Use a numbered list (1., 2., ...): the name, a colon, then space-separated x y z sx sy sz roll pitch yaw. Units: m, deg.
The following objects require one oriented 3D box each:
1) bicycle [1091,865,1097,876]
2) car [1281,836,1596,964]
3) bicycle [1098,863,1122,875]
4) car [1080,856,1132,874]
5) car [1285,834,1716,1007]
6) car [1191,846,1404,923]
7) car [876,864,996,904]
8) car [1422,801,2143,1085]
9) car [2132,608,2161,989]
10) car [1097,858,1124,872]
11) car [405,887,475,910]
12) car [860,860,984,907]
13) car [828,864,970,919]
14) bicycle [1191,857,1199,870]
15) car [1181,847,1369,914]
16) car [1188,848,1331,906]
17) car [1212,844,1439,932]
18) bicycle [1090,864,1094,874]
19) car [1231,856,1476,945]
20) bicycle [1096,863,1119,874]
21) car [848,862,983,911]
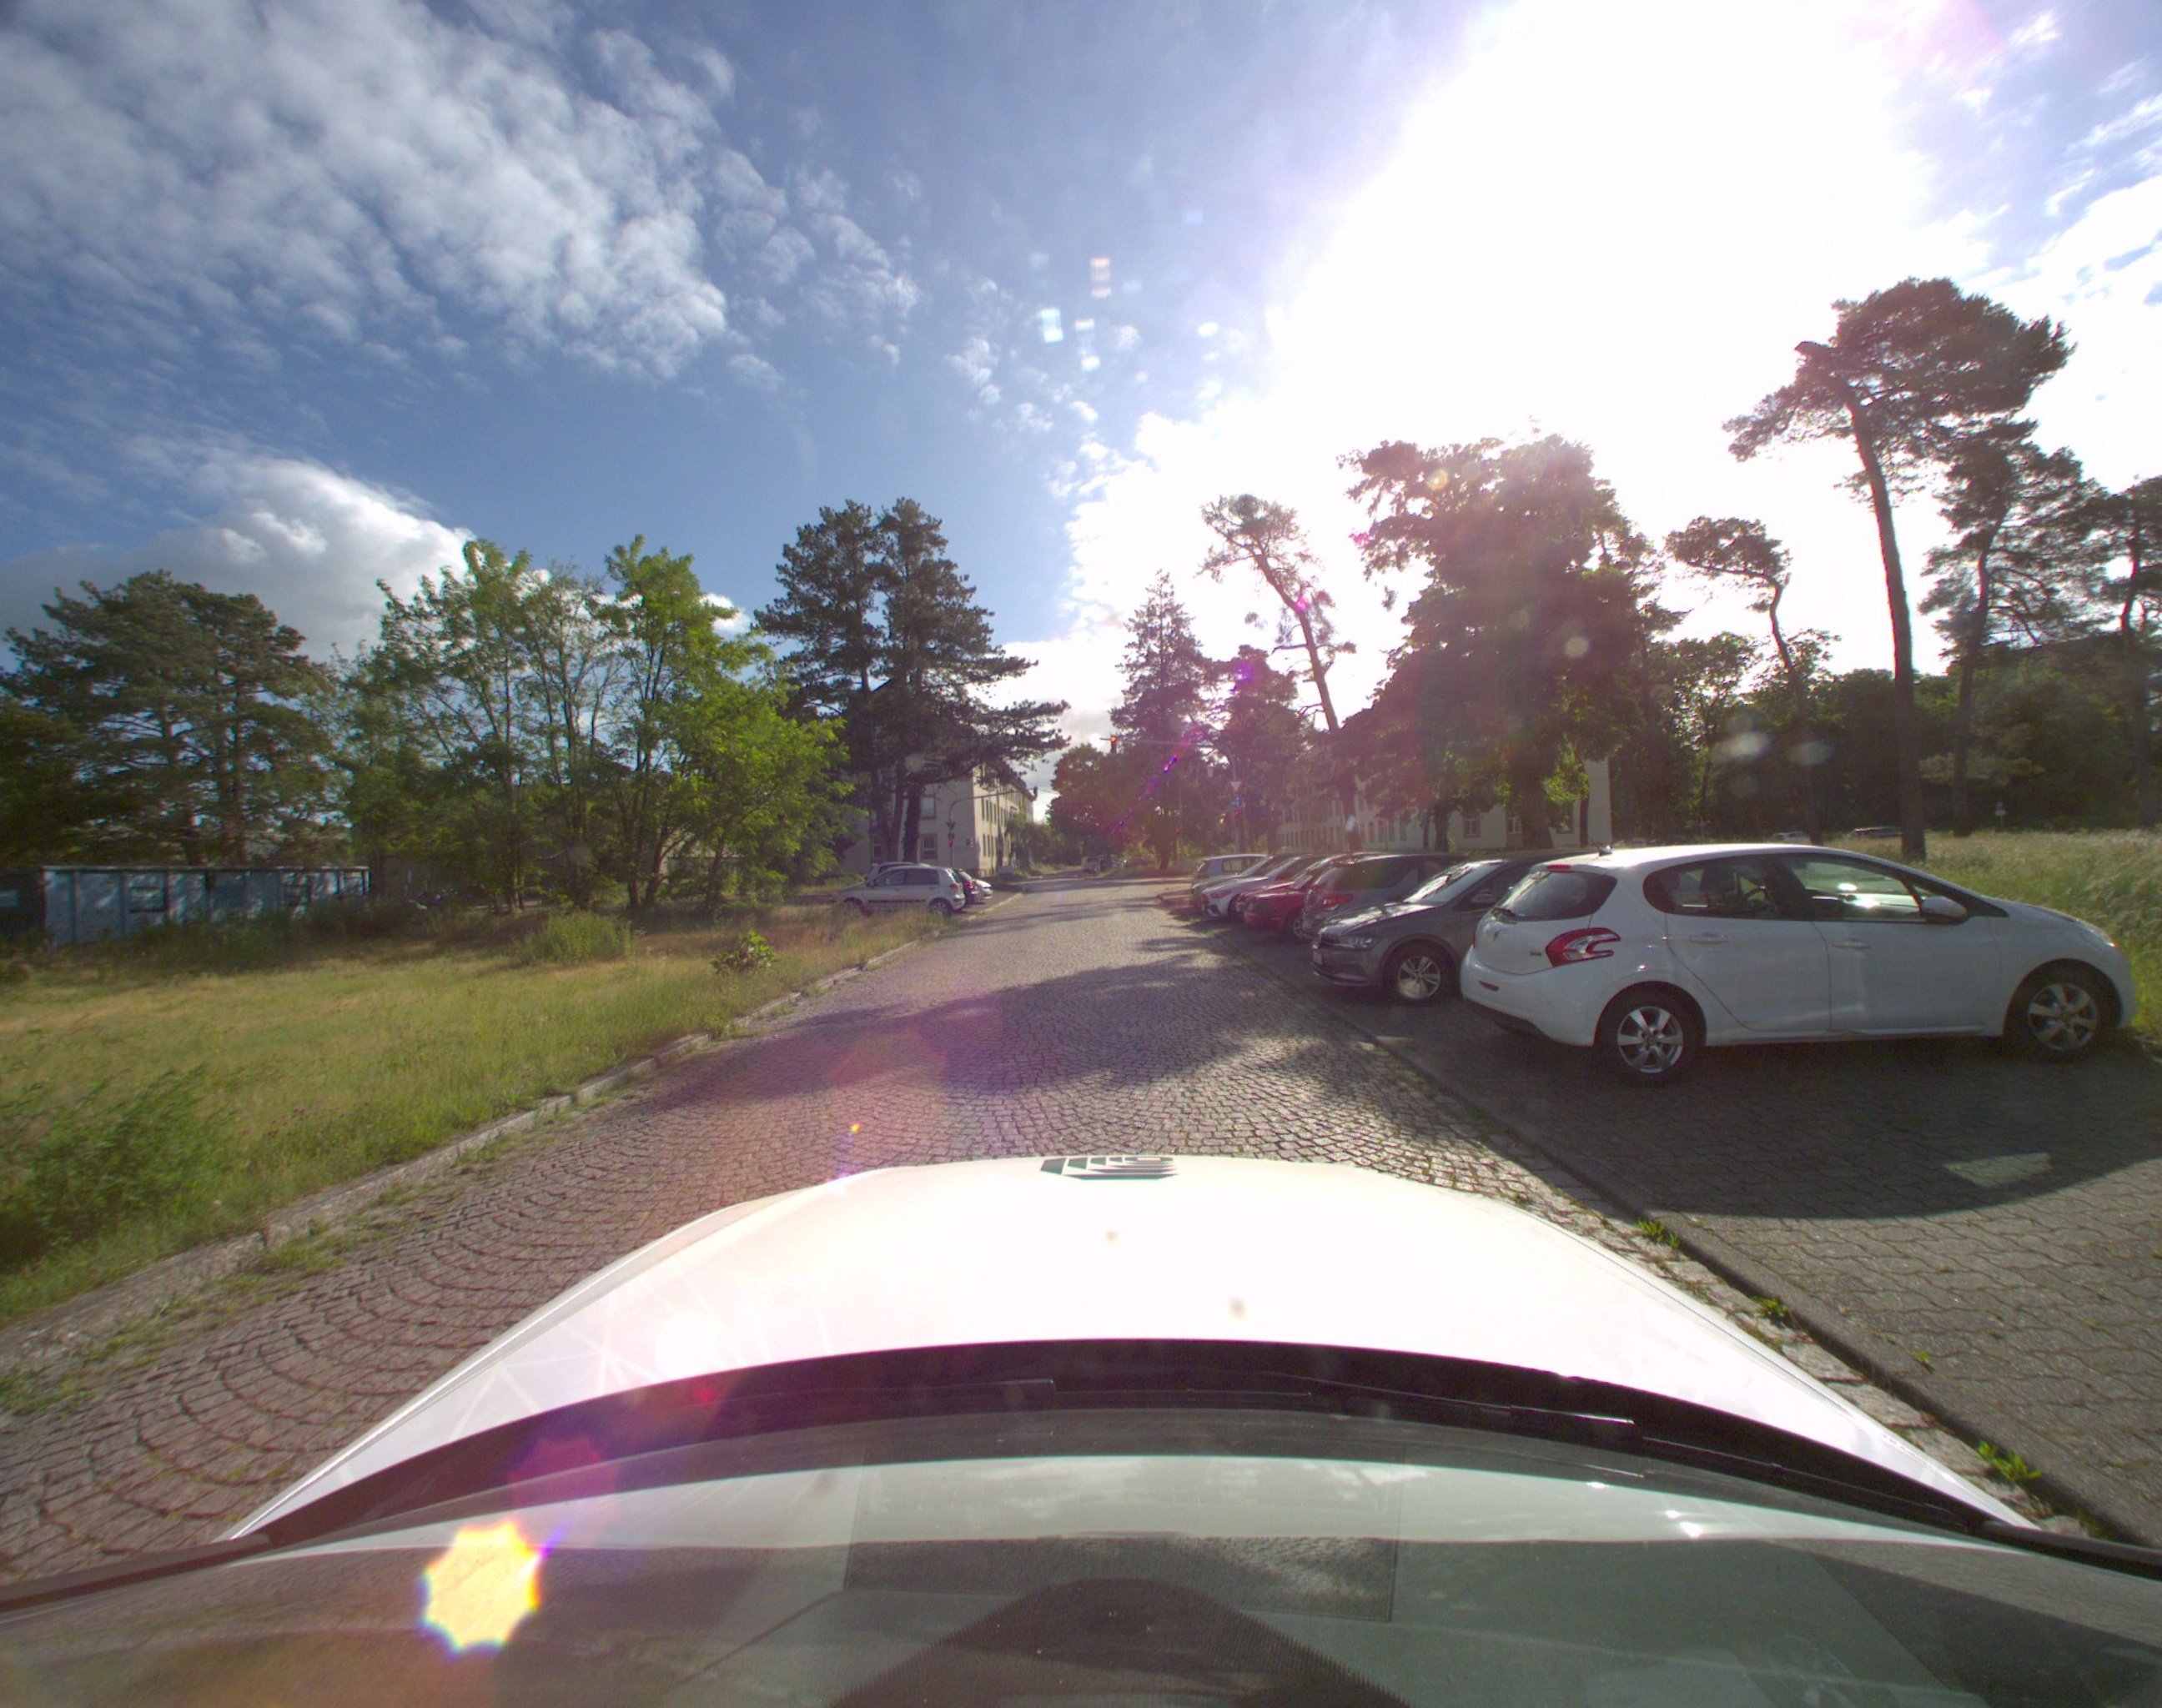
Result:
1. bicycle: 1.110 1.409 69.664 0.466 1.010 1.584 0 -1 -2
2. car: 4.984 0.612 11.753 3.694 1.449 1.816 -4 0 1
3. bicycle: 2.575 1.336 73.230 2.107 1.010 0.619 0 -1 -7
4. car: 2.820 1.241 91.337 5.535 2.014 1.988 0 -1 -17
5. car: 4.323 0.648 8.890 3.694 1.449 1.857 -4 0 1
6. car: 4.894 0.670 18.838 4.416 1.415 1.781 -4 0 1
7. car: -5.509 1.125 31.383 4.322 1.468 1.829 0 0 -2
8. car: 4.747 0.561 5.979 3.694 1.534 1.761 -4 0 1
9. car: 4.500 0.324 0.630 4.682 1.935 2.000 -4 -1 0
10. car: 3.177 1.230 87.705 2.776 1.467 1.669 0 -1 -4
11. car: -47.261 3.258 60.140 1.895 1.433 4.001 -2 -1 2
12. car: -5.611 1.031 29.072 4.070 1.593 1.884 0 0 -2
13. car: -5.179 1.051 23.474 3.737 1.487 1.644 0 0 -2
14. bicycle: 8.566 0.741 61.082 0.300 0.961 1.584 0 -1 -2
15. car: 5.033 0.669 21.554 4.543 1.415 1.637 -4 0 1
16. car: 5.267 0.650 24.332 3.868 1.415 1.637 -4 0 1
17. car: 4.911 0.661 16.756 4.112 1.449 1.637 -4 0 1
18. bicycle: 1.122 1.539 82.897 0.416 1.010 1.484 0 -1 2
19. car: 4.667 0.773 14.357 3.694 1.223 1.747 -4 0 1
20. bicycle: 2.442 1.366 74.945 2.002 1.010 0.630 0 -1 -7
21. car: -5.237 1.023 26.107 3.977 1.480 1.802 0 0 -2
